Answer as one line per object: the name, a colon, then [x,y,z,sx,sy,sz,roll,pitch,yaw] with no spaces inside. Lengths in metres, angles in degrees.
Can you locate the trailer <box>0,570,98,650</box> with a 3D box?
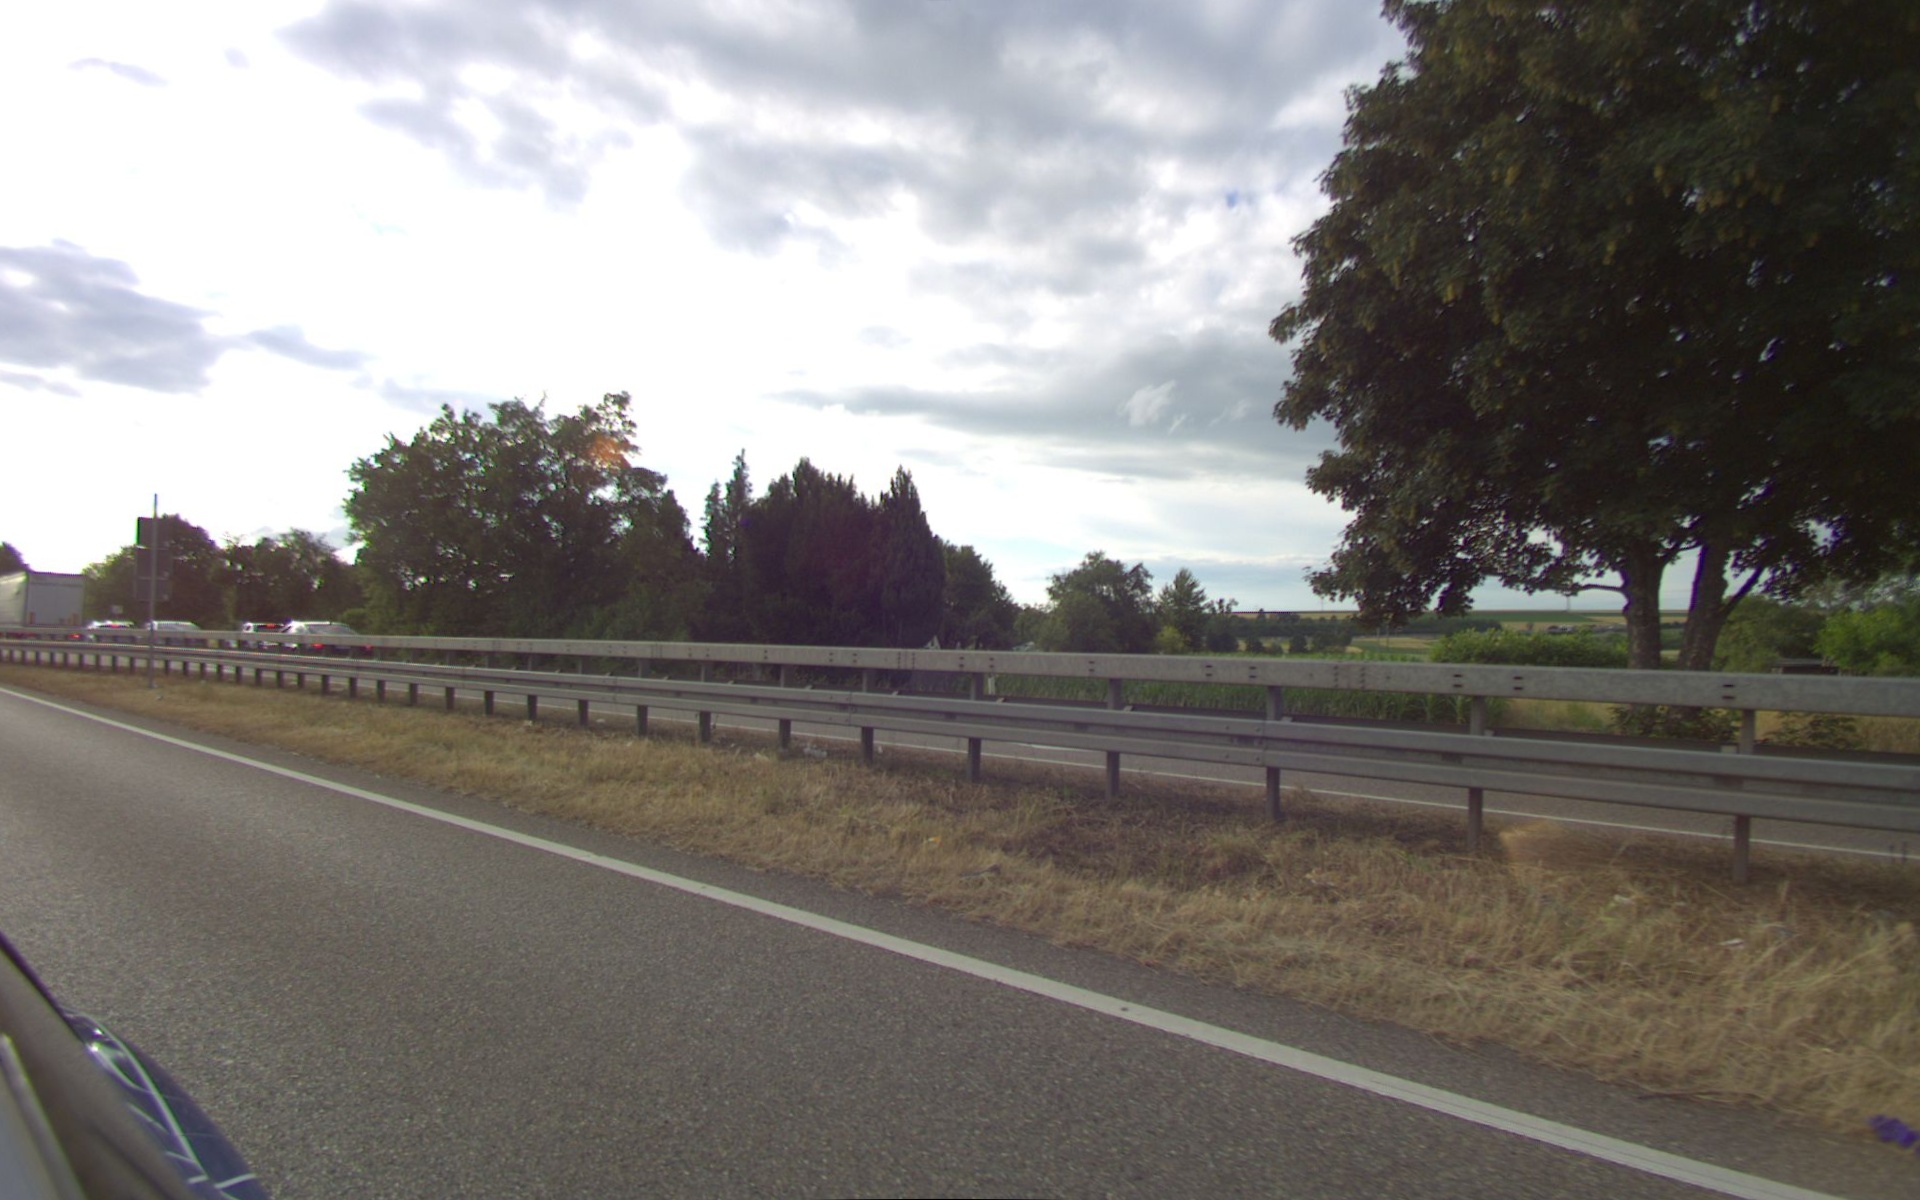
trailer: [-53.785,0.703,58.623,13.904,4.182,3.430,-1,-3,40]

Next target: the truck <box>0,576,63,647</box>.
truck: [-58.023,0.752,62.146,6.044,4.182,3.439,-1,-3,40]

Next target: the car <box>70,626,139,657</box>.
car: [-40.373,1.939,47.738,4.156,1.396,1.771,-1,-3,40]

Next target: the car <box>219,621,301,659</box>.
car: [-30.321,1.712,43.802,4.148,1.576,1.848,-1,-3,40]

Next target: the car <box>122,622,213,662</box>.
car: [-31.701,1.652,40.435,4.821,1.489,1.848,-1,-3,40]

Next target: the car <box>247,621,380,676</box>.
car: [-19.006,1.374,29.649,4.931,1.489,1.848,-1,-3,40]
